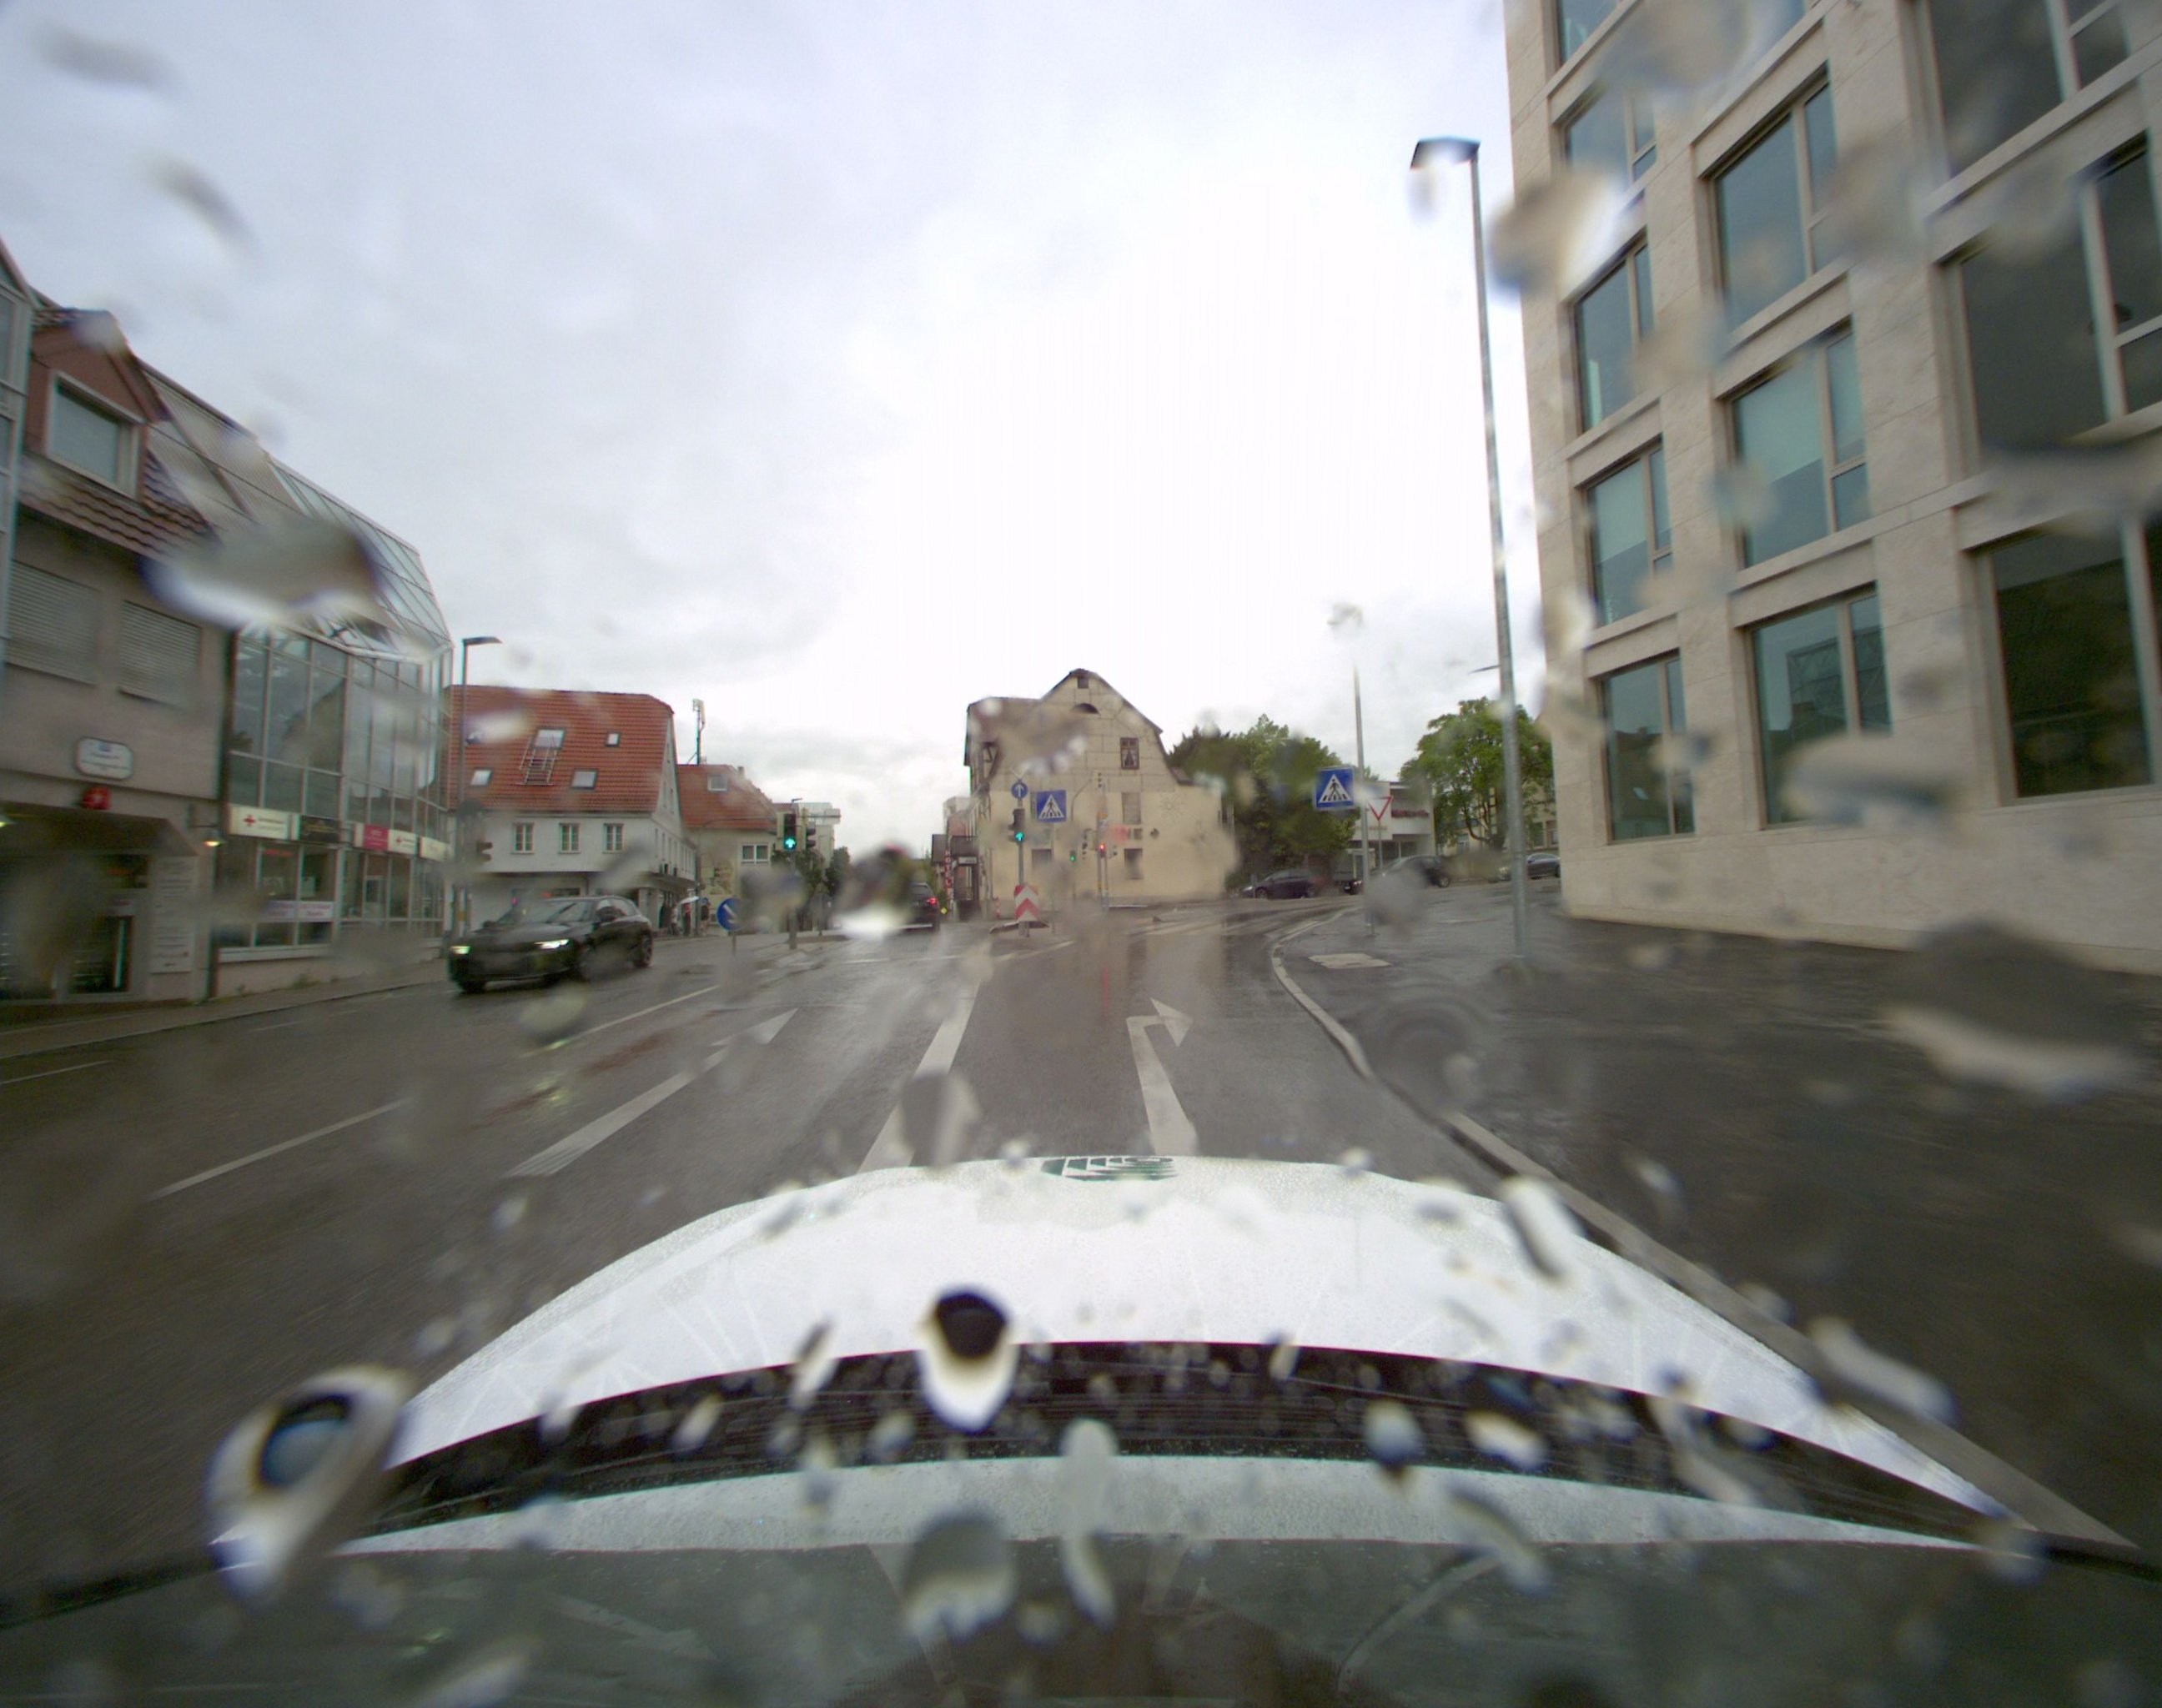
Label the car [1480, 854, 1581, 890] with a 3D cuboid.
[{"bbox_3d":[23.279,0.951,42.194,4.534,1.452,1.769,-3,-5,-16],"label":"car"}]

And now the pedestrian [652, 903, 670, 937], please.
[{"bbox_3d":[-19.567,3.068,37.960,0.594,1.559,0.630,-3,-2,-18],"label":"pedestrian"}]

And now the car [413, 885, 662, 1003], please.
[{"bbox_3d":[-8.831,1.363,13.708,1.886,1.467,3.988,-3,0,-8],"label":"car"}]

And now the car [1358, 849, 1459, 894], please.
[{"bbox_3d":[16.118,0.877,40.136,4.310,1.816,1.769,-3,-5,-16],"label":"car"}]

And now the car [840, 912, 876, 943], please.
[{"bbox_3d":[-22.086,7.221,80.900,2.588,2.626,6.533,-4,-2,-10],"label":"car"}]

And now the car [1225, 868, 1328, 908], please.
[{"bbox_3d":[9.184,1.591,38.286,4.312,1.505,1.768,-3,-5,-17],"label":"car"}]

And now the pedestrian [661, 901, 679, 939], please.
[{"bbox_3d":[-19.786,3.150,39.227,0.594,1.774,0.630,-3,-2,-18],"label":"pedestrian"}]

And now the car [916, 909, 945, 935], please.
[{"bbox_3d":[-11.073,4.986,60.152,1.886,1.467,3.988,-3,0,-8],"label":"car"}]

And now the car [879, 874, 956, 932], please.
[{"bbox_3d":[-5.249,1.529,26.689,1.941,1.566,4.410,-1,0,-5],"label":"car"}]

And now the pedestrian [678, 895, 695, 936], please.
[{"bbox_3d":[-18.271,2.836,37.716,0.536,1.871,0.630,-3,-2,-18],"label":"pedestrian"}]

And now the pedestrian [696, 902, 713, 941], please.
[{"bbox_3d":[-18.630,3.332,40.272,0.604,1.867,0.743,-3,-2,-18],"label":"pedestrian"}]

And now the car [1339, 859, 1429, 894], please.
[{"bbox_3d":[16.216,1.213,43.581,4.181,1.519,1.769,-3,-5,-16],"label":"car"}]

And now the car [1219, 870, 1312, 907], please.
[{"bbox_3d":[9.291,1.744,41.094,4.181,1.519,1.769,-3,-5,-16],"label":"car"}]
